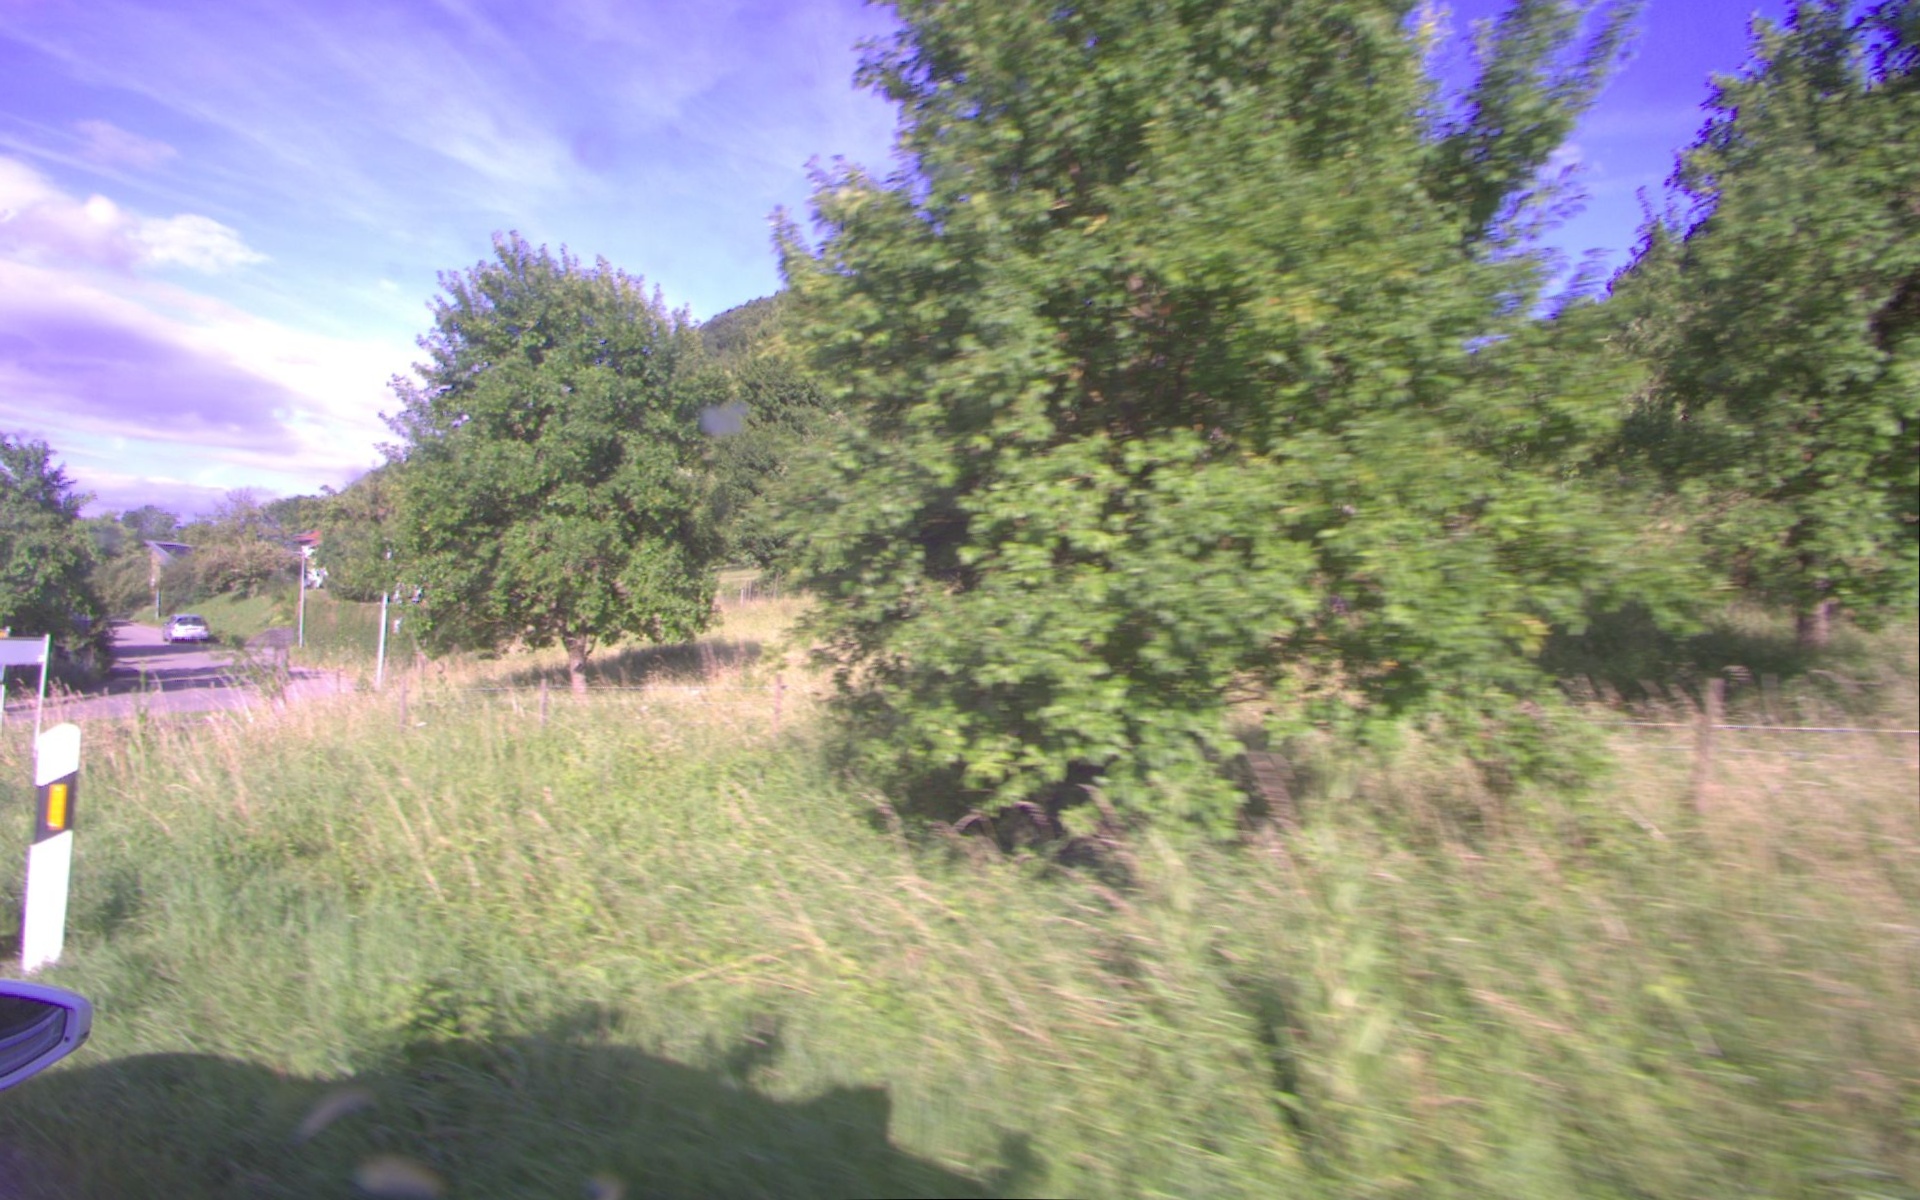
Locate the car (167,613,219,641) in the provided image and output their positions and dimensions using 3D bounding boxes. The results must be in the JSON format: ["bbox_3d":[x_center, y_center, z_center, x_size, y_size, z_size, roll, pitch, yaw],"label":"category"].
[{"bbox_3d":[-42.852,1.543,55.902,1.980,1.482,3.964,1,-2,-42],"label":"car"}]
